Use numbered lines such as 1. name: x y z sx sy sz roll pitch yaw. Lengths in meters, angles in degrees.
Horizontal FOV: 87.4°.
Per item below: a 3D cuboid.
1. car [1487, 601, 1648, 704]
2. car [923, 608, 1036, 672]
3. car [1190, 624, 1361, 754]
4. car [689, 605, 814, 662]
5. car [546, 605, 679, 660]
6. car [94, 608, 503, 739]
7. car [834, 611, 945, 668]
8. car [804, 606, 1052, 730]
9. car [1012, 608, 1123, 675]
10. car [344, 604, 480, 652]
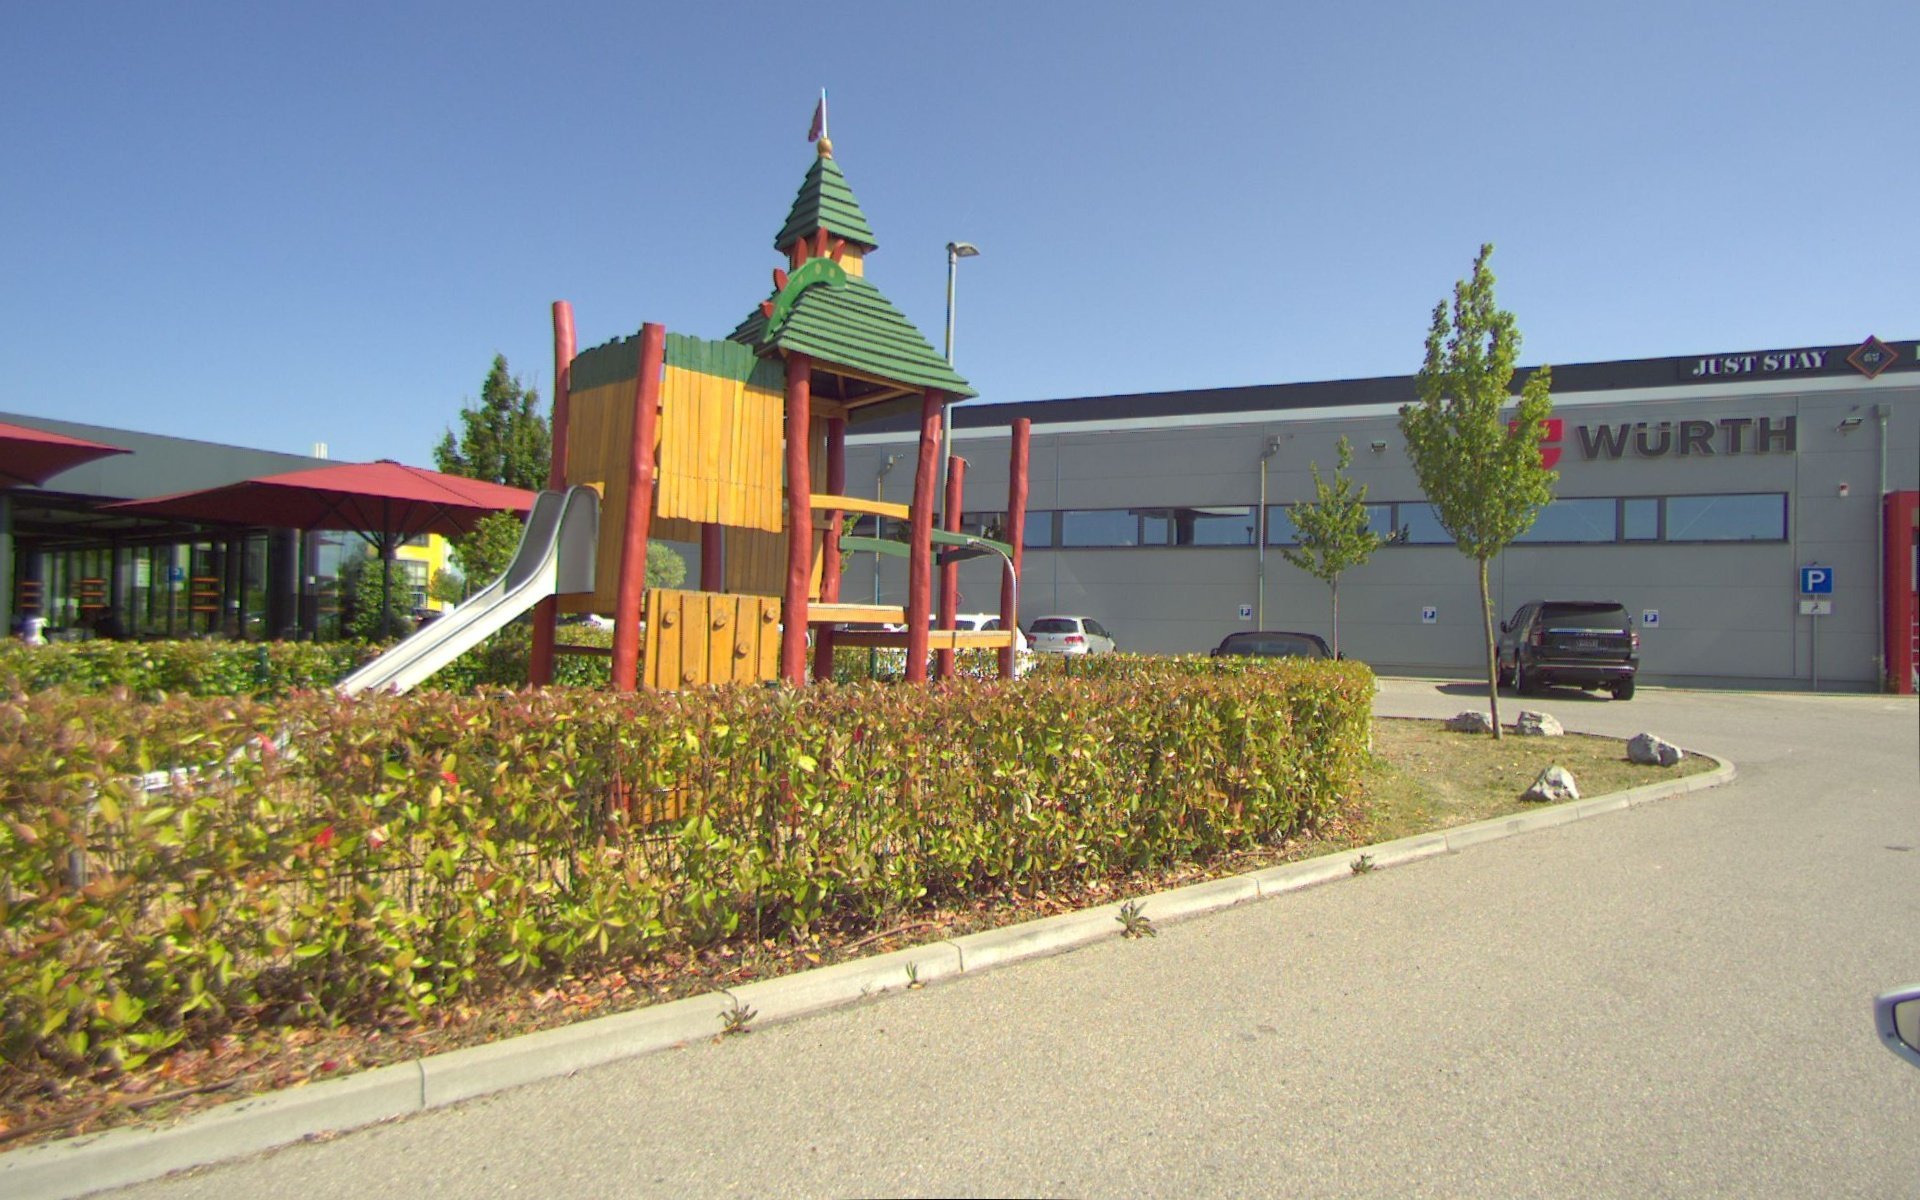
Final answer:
1. car: 12.663 1.014 21.284 2.037 1.905 4.878 0 -1 21
2. car: 0.626 1.048 27.540 1.848 1.607 4.108 0 -1 21
3. car: 4.291 1.029 13.375 1.832 1.380 4.376 0 -1 21
4. car: -6.210 0.975 30.393 1.704 1.588 3.948 0 -1 24
5. car: -10.808 0.991 31.512 1.704 1.588 3.949 0 -1 24
6. car: -7.823 0.798 12.228 1.620 1.326 3.829 0 -2 35
7. car: -1.939 1.082 28.834 1.703 1.507 3.951 0 -1 21
8. car: -0.283 0.893 14.998 1.917 1.551 4.372 0 -1 25
9. car: 2.958 1.052 26.781 1.915 1.607 4.376 0 -1 21
10. car: -19.125 0.957 35.225 1.704 1.588 3.949 0 -1 24
